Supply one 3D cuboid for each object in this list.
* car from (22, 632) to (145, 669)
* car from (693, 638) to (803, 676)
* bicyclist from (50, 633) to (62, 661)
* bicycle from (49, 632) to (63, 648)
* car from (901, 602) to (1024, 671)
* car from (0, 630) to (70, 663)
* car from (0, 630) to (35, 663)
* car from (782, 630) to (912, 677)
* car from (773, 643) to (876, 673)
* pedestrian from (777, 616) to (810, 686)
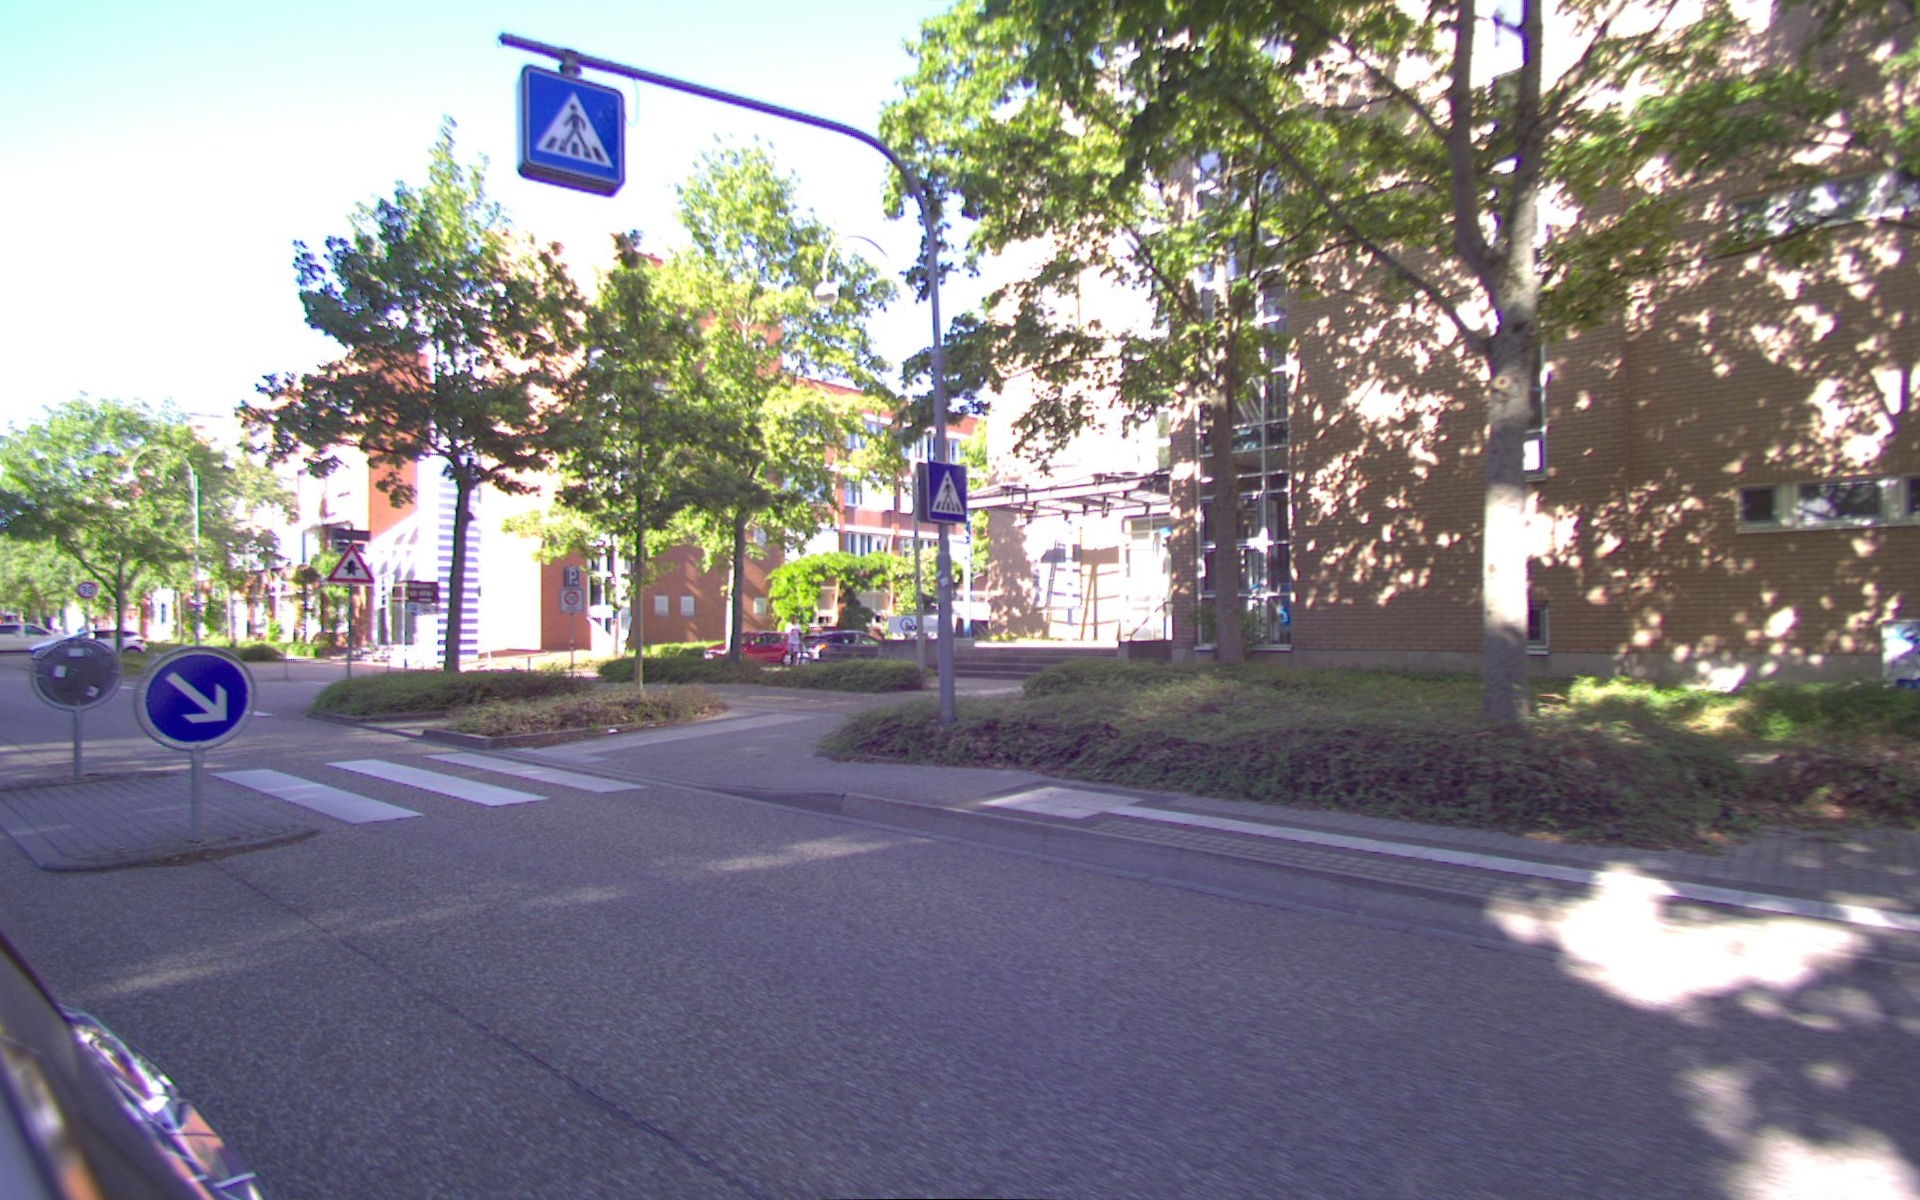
[{"bbox_3d":[-38.767,2.210,44.823,1.617,1.430,3.953,-2,-1,40],"label":"car"},{"bbox_3d":[-8.997,2.382,43.267,1.847,1.463,4.379,-2,-2,42],"label":"car"},{"bbox_3d":[-66.514,3.443,74.450,0.609,2.029,0.625,-2,-1,44],"label":"bicyclist"},{"bbox_3d":[-66.618,2.967,74.557,0.628,1.107,2.156,-1,0,-45],"label":"bicycle"},{"bbox_3d":[0.182,1.439,40.641,1.922,2.588,5.405,-2,-2,40],"label":"car"},{"bbox_3d":[-55.793,2.696,59.282,2.000,1.901,5.247,-2,-3,42],"label":"car"},{"bbox_3d":[-63.723,3.054,66.212,2.000,2.186,4.573,-2,-3,42],"label":"car"},{"bbox_3d":[-3.943,1.861,35.935,1.845,1.519,4.663,-2,-2,38],"label":"car"},{"bbox_3d":[-6.189,2.637,46.749,1.847,1.196,4.658,-2,-2,42],"label":"car"},{"bbox_3d":[-4.665,1.417,28.384,0.672,1.932,0.615,-2,-3,43],"label":"pedestrian"}]
